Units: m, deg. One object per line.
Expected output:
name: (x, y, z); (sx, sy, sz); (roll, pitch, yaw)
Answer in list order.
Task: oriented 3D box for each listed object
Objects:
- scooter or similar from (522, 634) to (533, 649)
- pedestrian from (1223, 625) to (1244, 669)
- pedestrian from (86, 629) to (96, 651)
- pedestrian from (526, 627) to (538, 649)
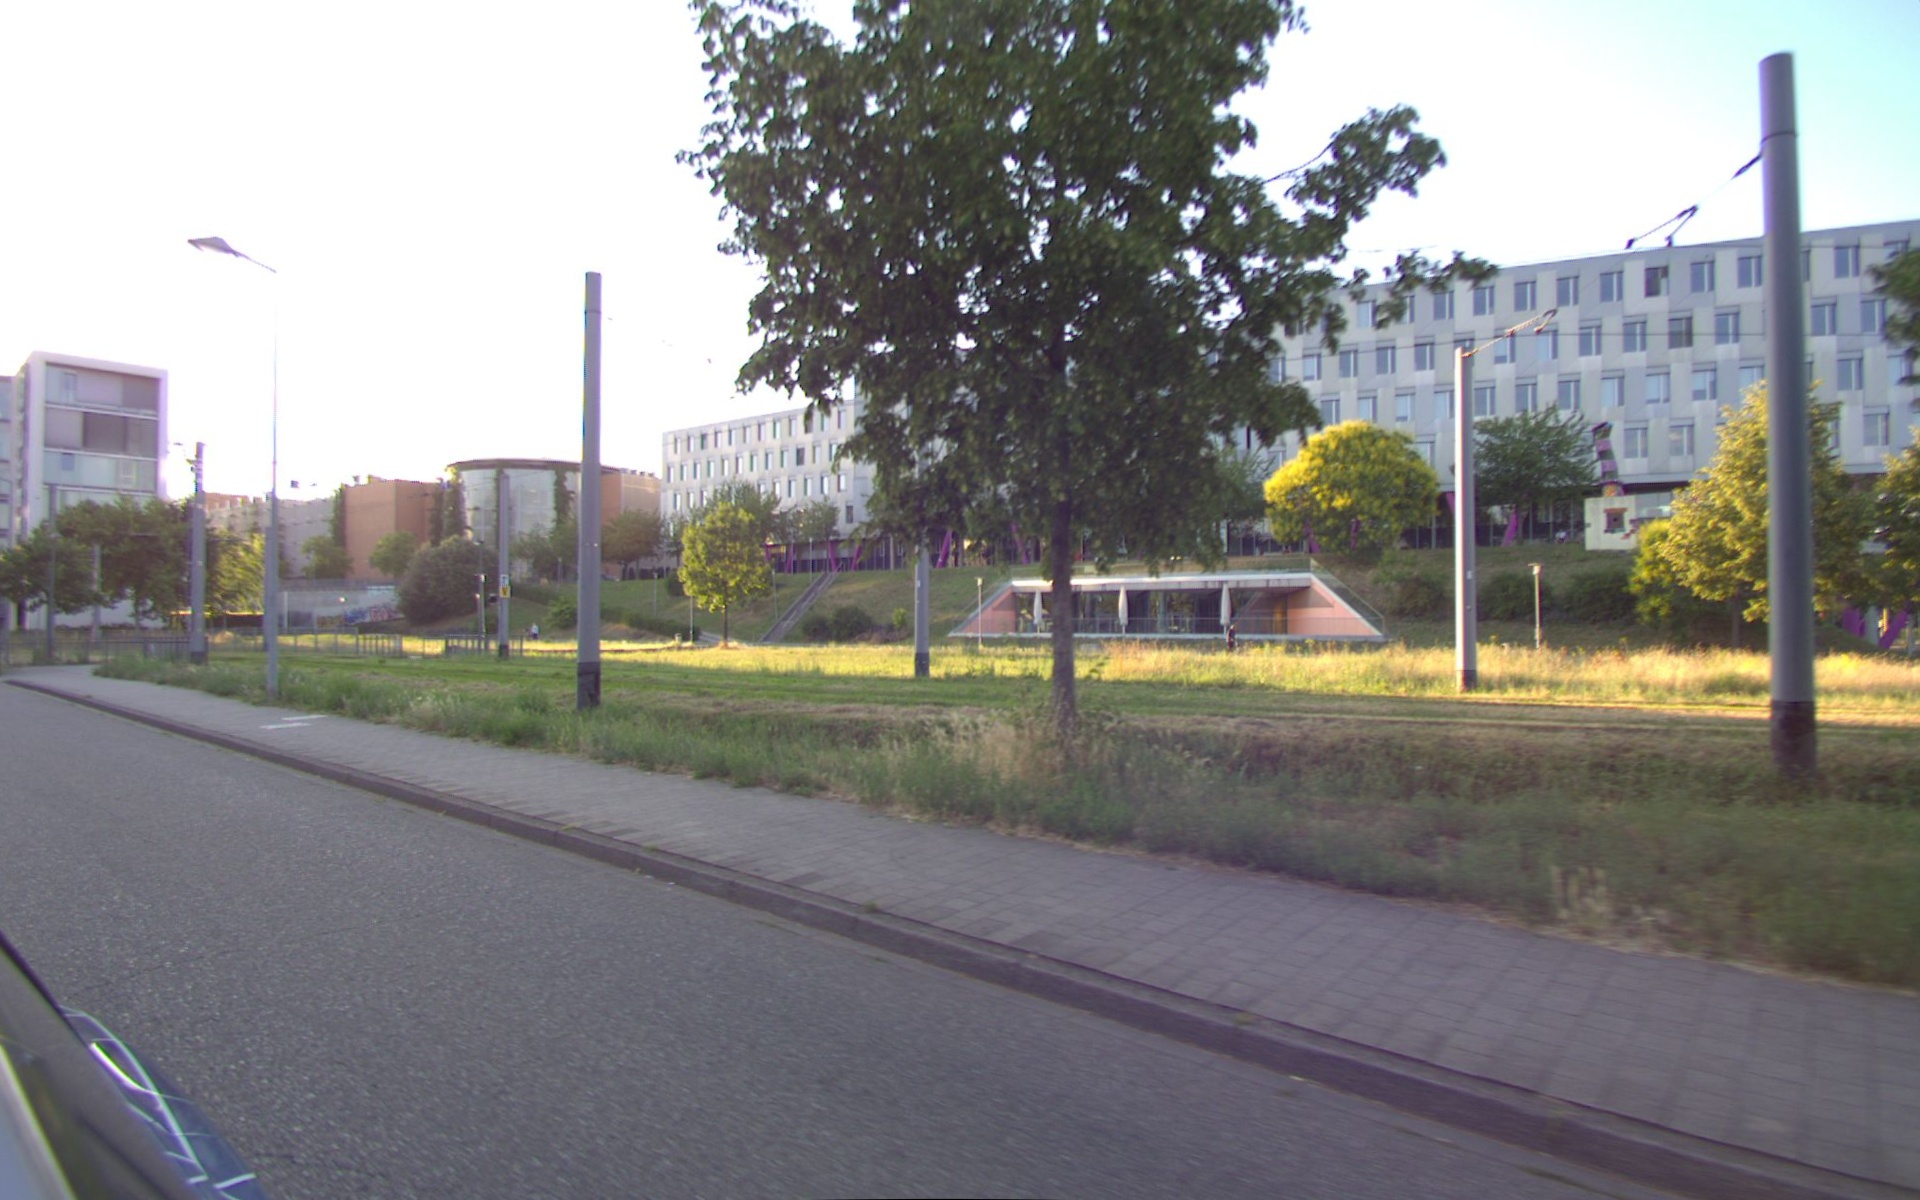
scooter or similar: (-37.582, 3.629, 87.900); (0.790, 1.253, 0.610); (-1, 0, 40)
pedestrian: (13.243, 2.250, 48.988); (0.790, 2.098, 0.610); (-1, 0, 40)
pedestrian: (-72.868, 3.326, 84.825); (0.480, 1.850, 0.446); (-1, 0, 20)
pedestrian: (-36.891, 3.264, 87.304); (0.790, 1.850, 0.610); (-1, 0, 40)
